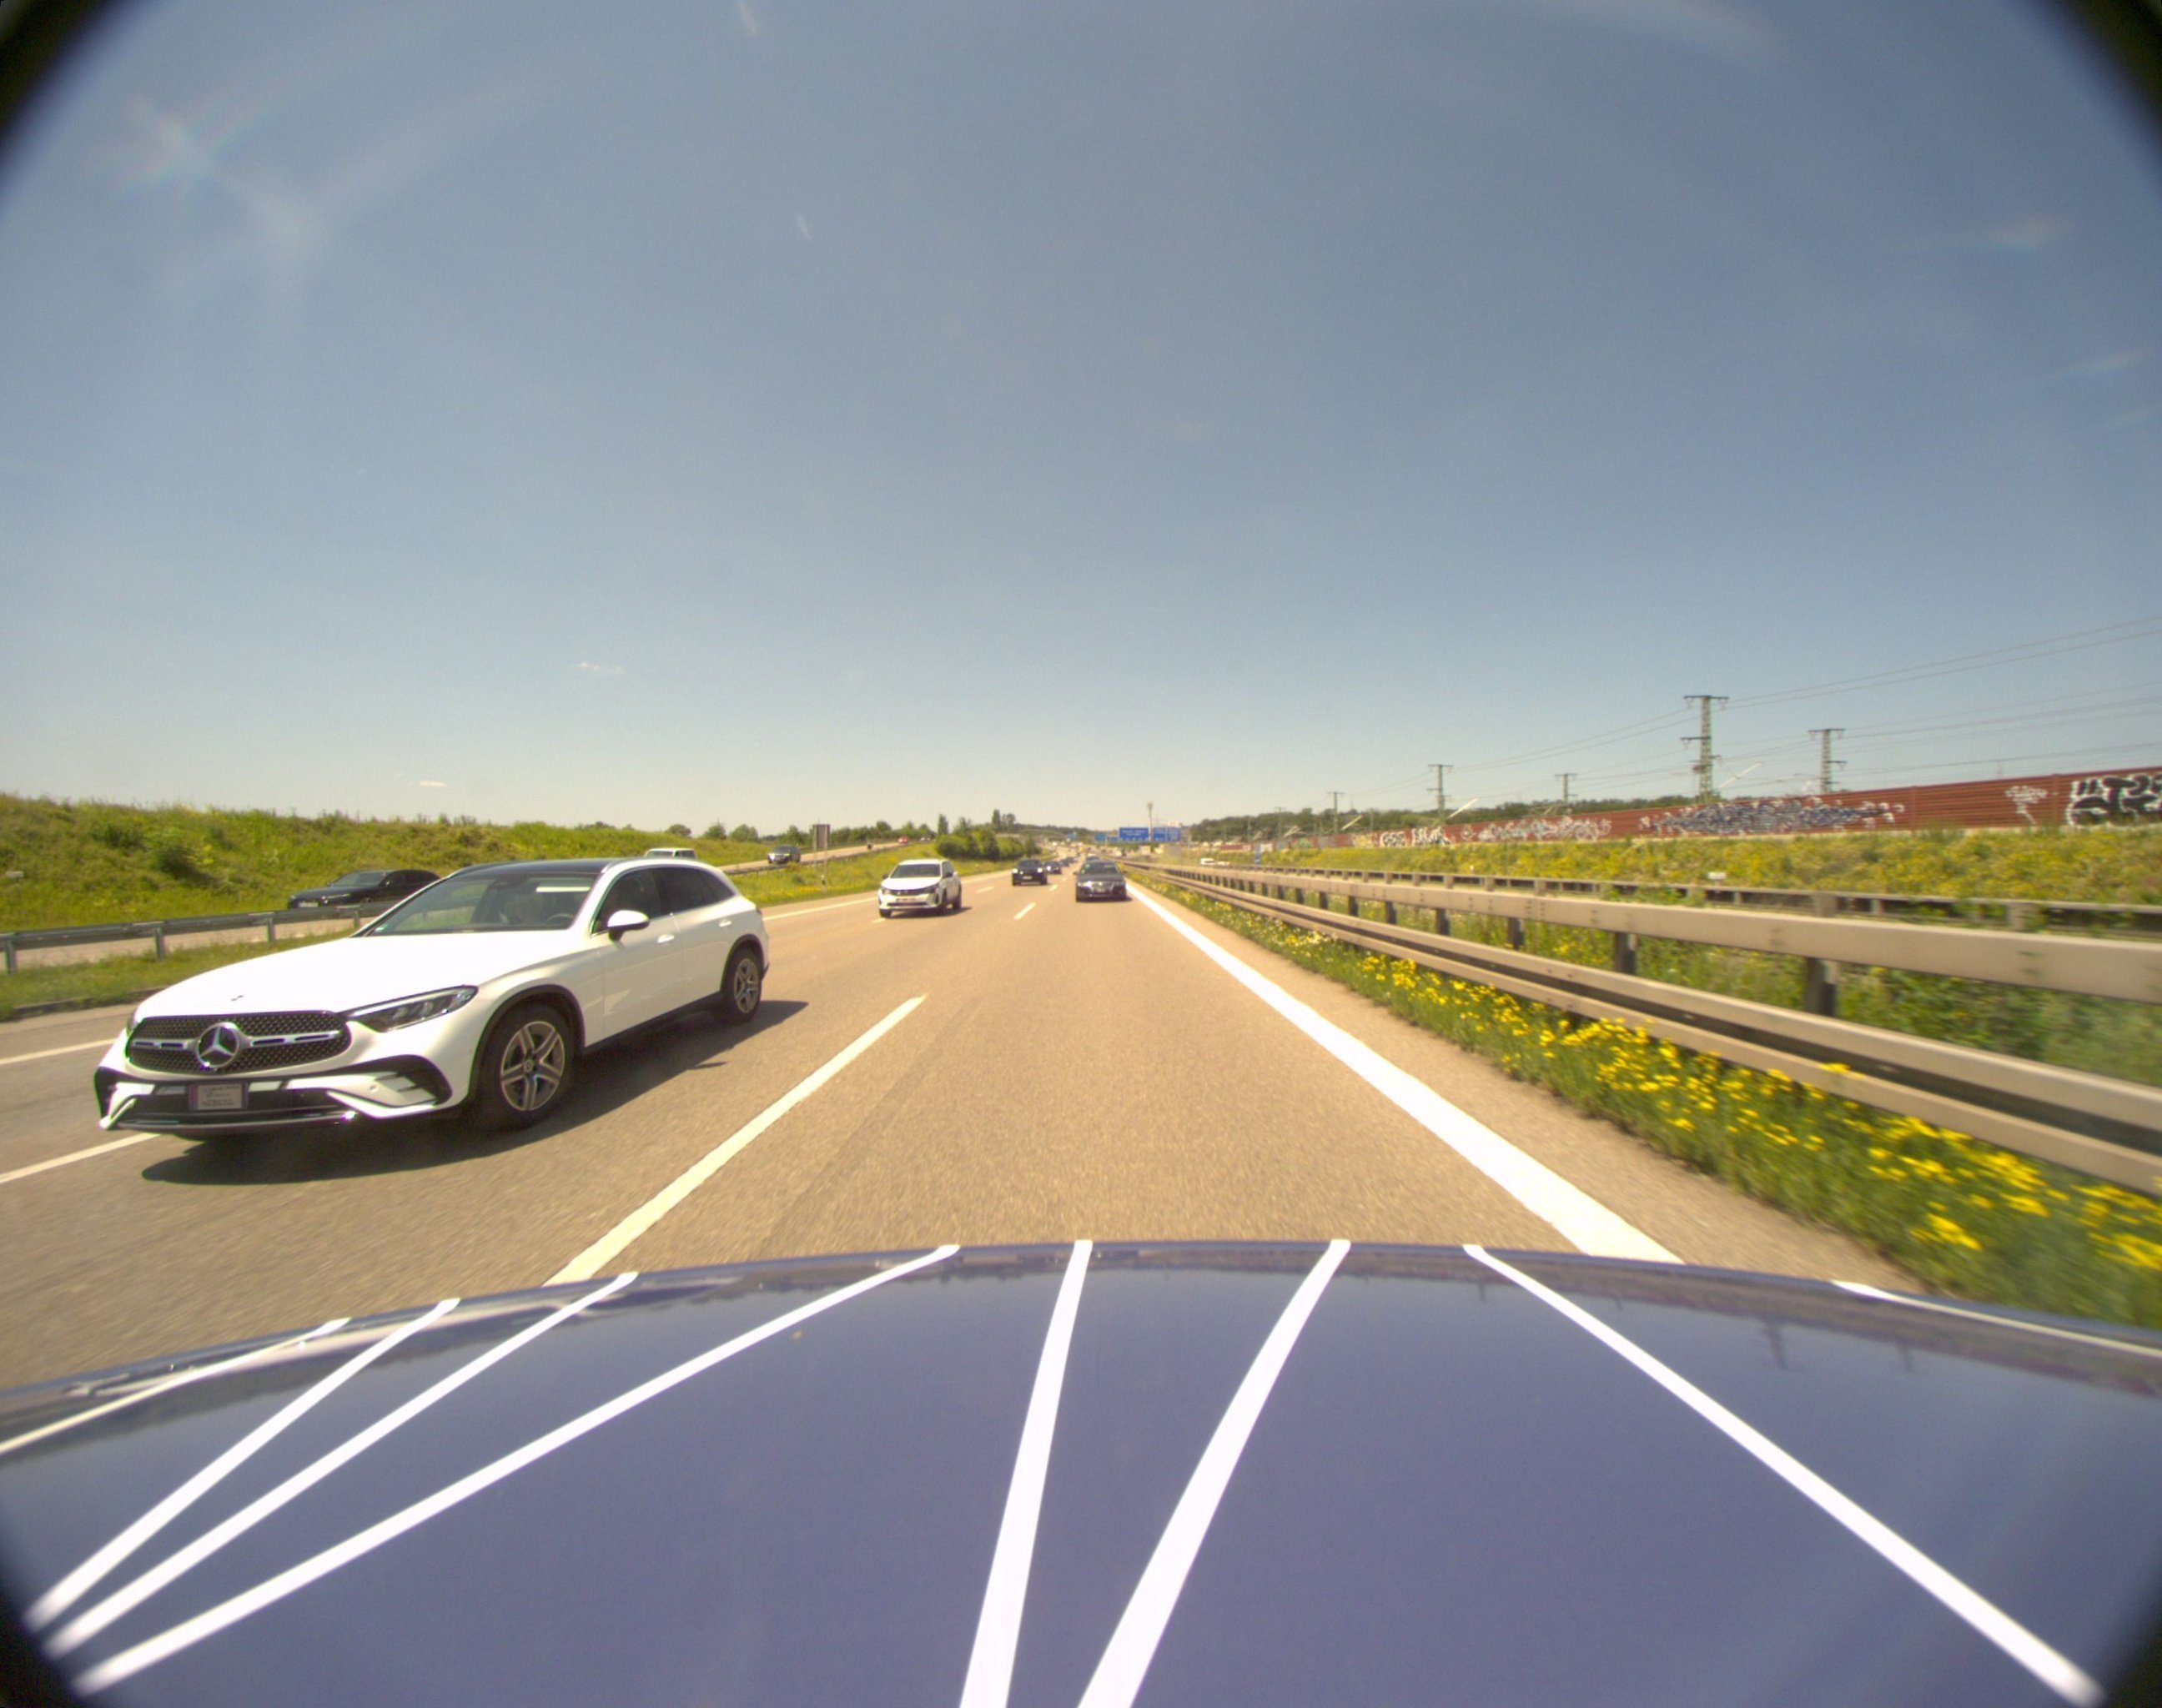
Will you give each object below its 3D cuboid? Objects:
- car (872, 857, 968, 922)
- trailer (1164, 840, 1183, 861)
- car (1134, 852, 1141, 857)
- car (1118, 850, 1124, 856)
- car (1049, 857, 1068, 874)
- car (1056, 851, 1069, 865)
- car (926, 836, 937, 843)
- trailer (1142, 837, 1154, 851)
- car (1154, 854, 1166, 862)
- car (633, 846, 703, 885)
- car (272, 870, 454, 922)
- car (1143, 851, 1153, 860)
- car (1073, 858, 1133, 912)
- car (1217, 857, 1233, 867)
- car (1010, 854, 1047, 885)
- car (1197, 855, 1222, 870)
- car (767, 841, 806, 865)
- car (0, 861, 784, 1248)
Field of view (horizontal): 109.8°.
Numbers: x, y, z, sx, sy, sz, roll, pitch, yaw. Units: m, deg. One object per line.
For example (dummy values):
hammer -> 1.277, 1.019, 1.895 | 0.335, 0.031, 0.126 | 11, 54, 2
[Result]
car -> -4.760, 0.975, 23.187 | 1.898, 1.620, 4.616 | -2, 1, 0
trailer -> 19.047, -0.737, 157.719 | 2.736, 4.050, 13.530 | 0, 0, 2
car -> 16.114, 0.139, 217.914 | 1.820, 1.637, 4.362 | -1, 0, 1
car -> 13.403, -0.344, 252.603 | 1.820, 1.774, 4.538 | -1, 0, 1
car -> -2.205, 1.092, 72.978 | 1.752, 1.462, 3.998 | -2, 1, -2
car -> -2.951, 0.637, 124.682 | 1.999, 2.002, 3.999 | -2, 1, 0
car -> -39.534, -3.850, 200.532 | 1.983, 1.620, 4.615 | -2, 1, -1
trailer -> 20.672, -3.069, 235.584 | 2.895, 4.382, 12.091 | 0, 0, 1
car -> 14.547, 0.747, 140.468 | 1.820, 1.470, 3.842 | -1, 0, 1
car -> -25.034, 0.668, 46.251 | 2.000, 2.159, 4.890 | -1, 0, -7
car -> -22.819, 1.262, 24.434 | 2.000, 1.375, 4.294 | -1, 0, -6
car -> 15.613, 0.433, 176.886 | 1.998, 2.002, 4.000 | -1, 0, 1
car -> 0.646, 0.944, 24.944 | 1.752, 1.462, 3.999 | -2, 1, 0
car -> 22.242, 1.256, 117.467 | 1.724, 1.535, 3.809 | -1, 0, 1
car -> -3.158, 0.905, 46.449 | 1.983, 1.620, 4.615 | -2, 1, -1
car -> 14.009, 0.933, 82.931 | 1.917, 1.535, 4.809 | -1, 0, 1
car -> -26.937, -0.138, 69.633 | 1.999, 2.002, 3.998 | -3, 2, -3
car -> -4.194, 0.954, 5.813 | 1.909, 1.646, 4.636 | -2, 1, 1
